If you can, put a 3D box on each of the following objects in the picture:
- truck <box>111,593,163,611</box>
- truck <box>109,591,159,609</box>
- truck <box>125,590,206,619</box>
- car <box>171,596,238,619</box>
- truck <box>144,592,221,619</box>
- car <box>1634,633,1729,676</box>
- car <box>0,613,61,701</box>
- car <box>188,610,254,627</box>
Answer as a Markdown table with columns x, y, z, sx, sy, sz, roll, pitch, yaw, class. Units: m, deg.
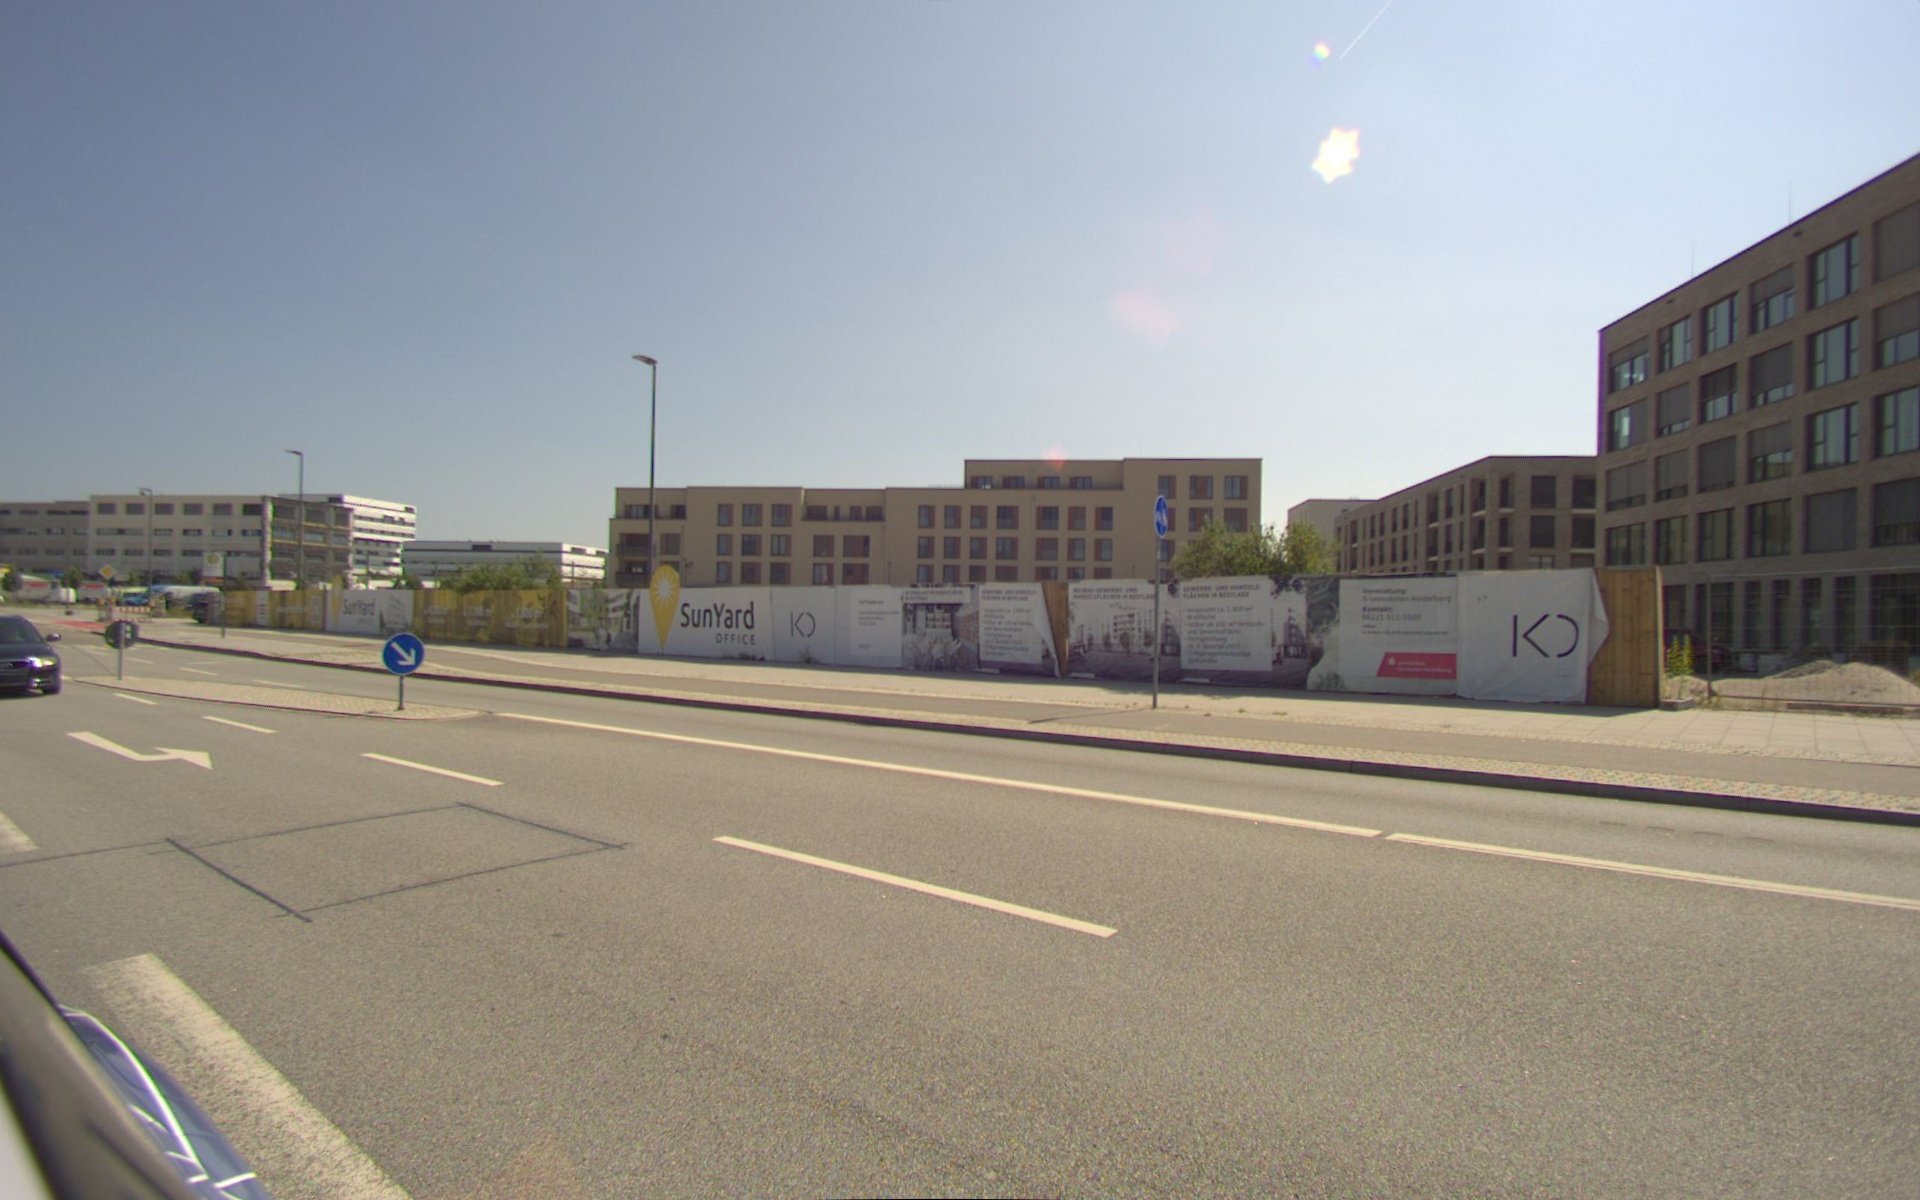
| x | y | z | sx | sy | sz | roll | pitch | yaw | class |
| --- | --- | --- | --- | --- | --- | --- | --- | --- | --- |
| -114.938 | 0.287 | 141.385 | 1.996 | 2.494 | 5.270 | 0 | 1 | 36 | truck |
| -120.385 | -0.037 | 147.582 | 1.998 | 2.494 | 5.346 | 0 | 1 | 38 | truck |
| -72.527 | 0.379 | 92.467 | 1.996 | 2.494 | 5.567 | 0 | 1 | 36 | truck |
| -60.292 | 0.597 | 80.805 | 1.888 | 1.731 | 3.885 | 0 | 1 | 35 | car |
| -67.050 | 0.417 | 87.290 | 1.998 | 2.245 | 4.942 | 0 | 1 | 39 | truck |
| 31.998 | 2.392 | 44.999 | 1.814 | 1.666 | 3.772 | 0 | 0 | 7 | car |
| -17.565 | 0.971 | 18.138 | 3.998 | 1.422 | 1.688 | 0 | 1 | 41 | car |
| -48.296 | 1.194 | 66.199 | 1.293 | 0.960 | 3.315 | 0 | 1 | 43 | car |
